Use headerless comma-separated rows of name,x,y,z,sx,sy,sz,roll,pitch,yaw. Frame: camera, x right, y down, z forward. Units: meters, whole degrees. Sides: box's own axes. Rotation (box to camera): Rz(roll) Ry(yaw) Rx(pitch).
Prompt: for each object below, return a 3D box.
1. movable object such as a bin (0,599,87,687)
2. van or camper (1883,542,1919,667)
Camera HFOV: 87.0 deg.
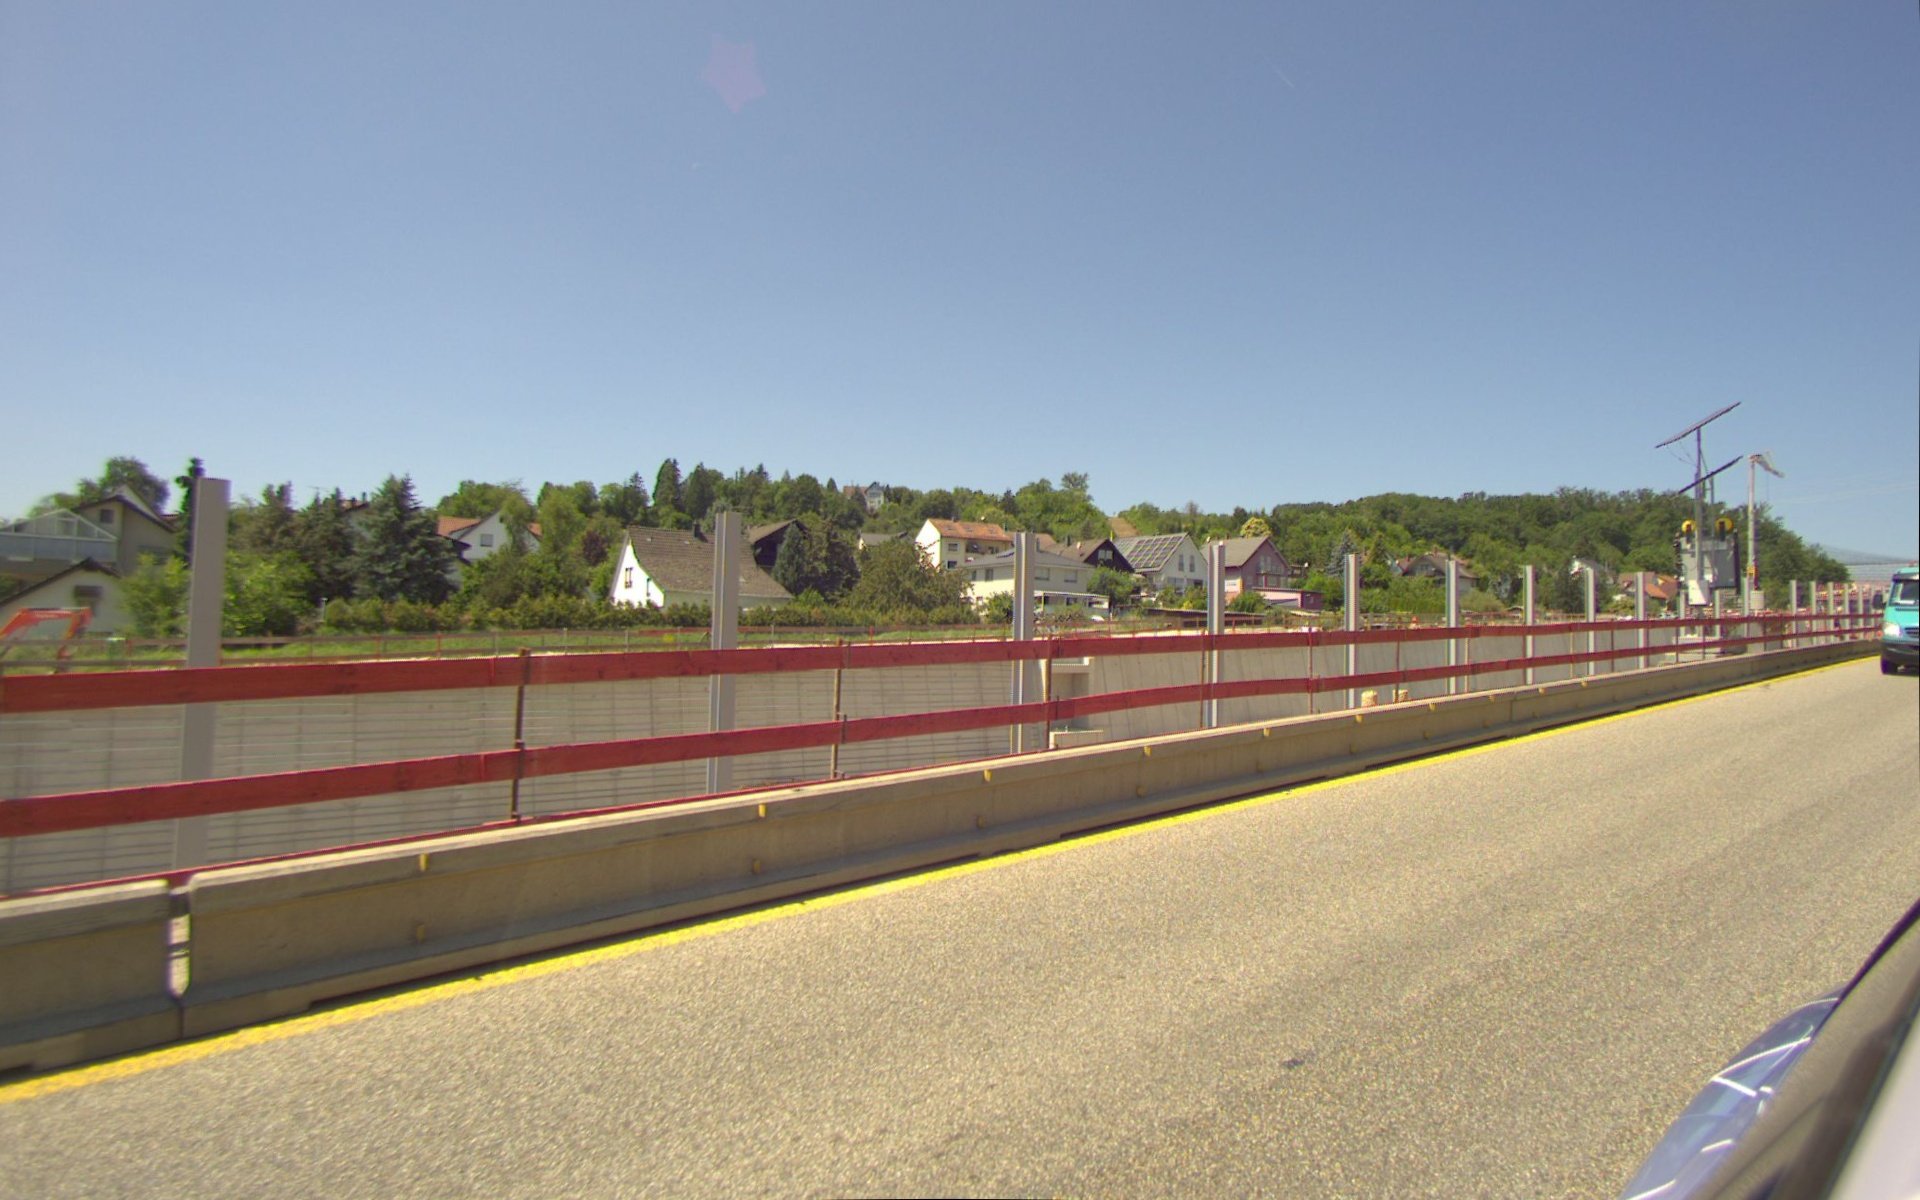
movable object such as a bin,-25.487,1.097,26.379,4.078,2.267,1.997,0,0,-40
van or camper,22.376,0.123,22.323,7.536,2.504,2.096,1,-1,-41
